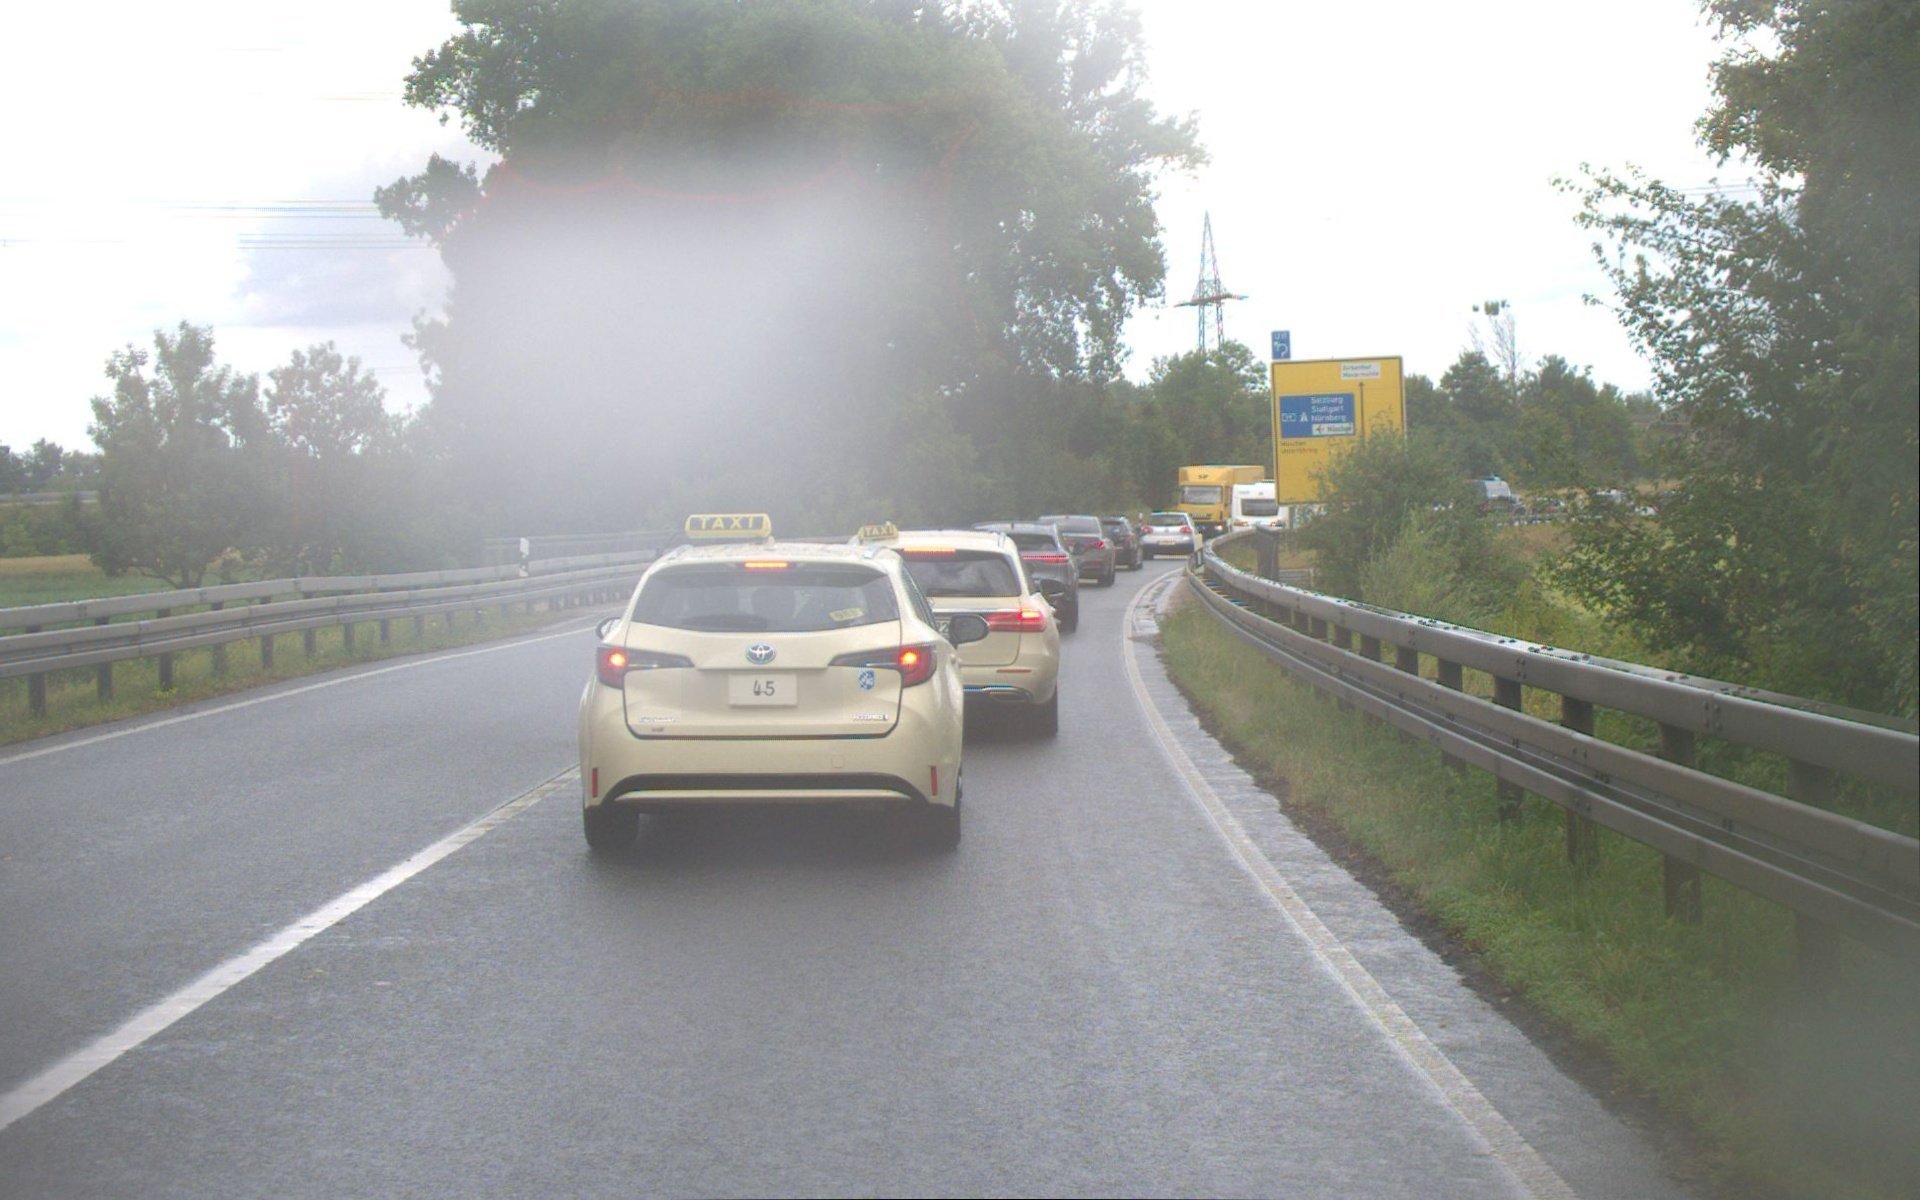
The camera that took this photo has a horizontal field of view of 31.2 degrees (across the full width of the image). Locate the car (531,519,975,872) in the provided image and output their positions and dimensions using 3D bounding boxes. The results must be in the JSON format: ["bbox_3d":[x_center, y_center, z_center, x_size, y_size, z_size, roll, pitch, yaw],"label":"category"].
[{"bbox_3d":[-0.894,0.372,17.052,1.906,1.532,4.162,0,1,1],"label":"car"}]

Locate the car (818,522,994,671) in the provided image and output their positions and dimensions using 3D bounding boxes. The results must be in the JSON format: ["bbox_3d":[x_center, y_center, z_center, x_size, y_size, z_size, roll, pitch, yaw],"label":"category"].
[{"bbox_3d":[-0.507,-0.065,35.117,1.506,1.432,3.355,1,1,4],"label":"car"}]

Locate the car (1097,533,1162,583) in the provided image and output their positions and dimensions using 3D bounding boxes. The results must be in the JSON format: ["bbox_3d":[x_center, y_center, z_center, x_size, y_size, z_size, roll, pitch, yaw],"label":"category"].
[{"bbox_3d":[4.504,-1.128,90.950,1.483,1.304,3.476,0,1,7],"label":"car"}]

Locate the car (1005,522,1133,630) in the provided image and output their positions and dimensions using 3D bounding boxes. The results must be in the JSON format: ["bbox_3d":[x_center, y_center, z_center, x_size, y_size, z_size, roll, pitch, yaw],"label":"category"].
[{"bbox_3d":[1.496,-0.361,48.133,1.665,1.459,3.477,0,1,0],"label":"car"}]

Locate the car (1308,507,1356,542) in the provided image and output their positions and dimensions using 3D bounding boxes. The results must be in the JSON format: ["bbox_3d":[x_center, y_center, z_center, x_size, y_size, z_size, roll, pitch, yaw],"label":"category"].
[{"bbox_3d":[17.047,-3.457,157.435,1.648,1.580,3.680,1,1,15],"label":"car"}]

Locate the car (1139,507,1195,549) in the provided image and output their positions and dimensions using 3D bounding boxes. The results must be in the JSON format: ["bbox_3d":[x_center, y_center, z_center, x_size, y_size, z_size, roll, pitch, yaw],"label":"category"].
[{"bbox_3d":[6.522,-2.256,108.107,1.483,1.304,3.476,0,1,8],"label":"car"}]

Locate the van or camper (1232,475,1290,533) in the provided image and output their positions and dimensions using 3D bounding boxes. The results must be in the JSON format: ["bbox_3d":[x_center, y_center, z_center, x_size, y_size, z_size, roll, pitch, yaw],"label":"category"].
[{"bbox_3d":[12.016,-3.821,137.034,1.994,2.246,3.999,1,1,9],"label":"van or camper"}]

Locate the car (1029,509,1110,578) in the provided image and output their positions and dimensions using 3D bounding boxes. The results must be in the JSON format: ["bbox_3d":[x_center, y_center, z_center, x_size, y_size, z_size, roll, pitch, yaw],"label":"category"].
[{"bbox_3d":[2.337,-1.176,72.695,1.660,1.404,3.904,0,0,3],"label":"car"}]

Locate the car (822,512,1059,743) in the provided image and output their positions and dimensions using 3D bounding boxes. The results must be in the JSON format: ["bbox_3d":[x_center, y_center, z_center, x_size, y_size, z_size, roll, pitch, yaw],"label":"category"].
[{"bbox_3d":[-0.082,0.150,25.264,1.578,1.567,3.681,0,1,2],"label":"car"}]

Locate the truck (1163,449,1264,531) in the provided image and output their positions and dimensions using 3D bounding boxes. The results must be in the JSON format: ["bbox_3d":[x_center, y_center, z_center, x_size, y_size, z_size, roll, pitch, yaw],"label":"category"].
[{"bbox_3d":[11.285,-4.926,152.511,2.772,3.417,9.182,2,3,14],"label":"truck"}]
